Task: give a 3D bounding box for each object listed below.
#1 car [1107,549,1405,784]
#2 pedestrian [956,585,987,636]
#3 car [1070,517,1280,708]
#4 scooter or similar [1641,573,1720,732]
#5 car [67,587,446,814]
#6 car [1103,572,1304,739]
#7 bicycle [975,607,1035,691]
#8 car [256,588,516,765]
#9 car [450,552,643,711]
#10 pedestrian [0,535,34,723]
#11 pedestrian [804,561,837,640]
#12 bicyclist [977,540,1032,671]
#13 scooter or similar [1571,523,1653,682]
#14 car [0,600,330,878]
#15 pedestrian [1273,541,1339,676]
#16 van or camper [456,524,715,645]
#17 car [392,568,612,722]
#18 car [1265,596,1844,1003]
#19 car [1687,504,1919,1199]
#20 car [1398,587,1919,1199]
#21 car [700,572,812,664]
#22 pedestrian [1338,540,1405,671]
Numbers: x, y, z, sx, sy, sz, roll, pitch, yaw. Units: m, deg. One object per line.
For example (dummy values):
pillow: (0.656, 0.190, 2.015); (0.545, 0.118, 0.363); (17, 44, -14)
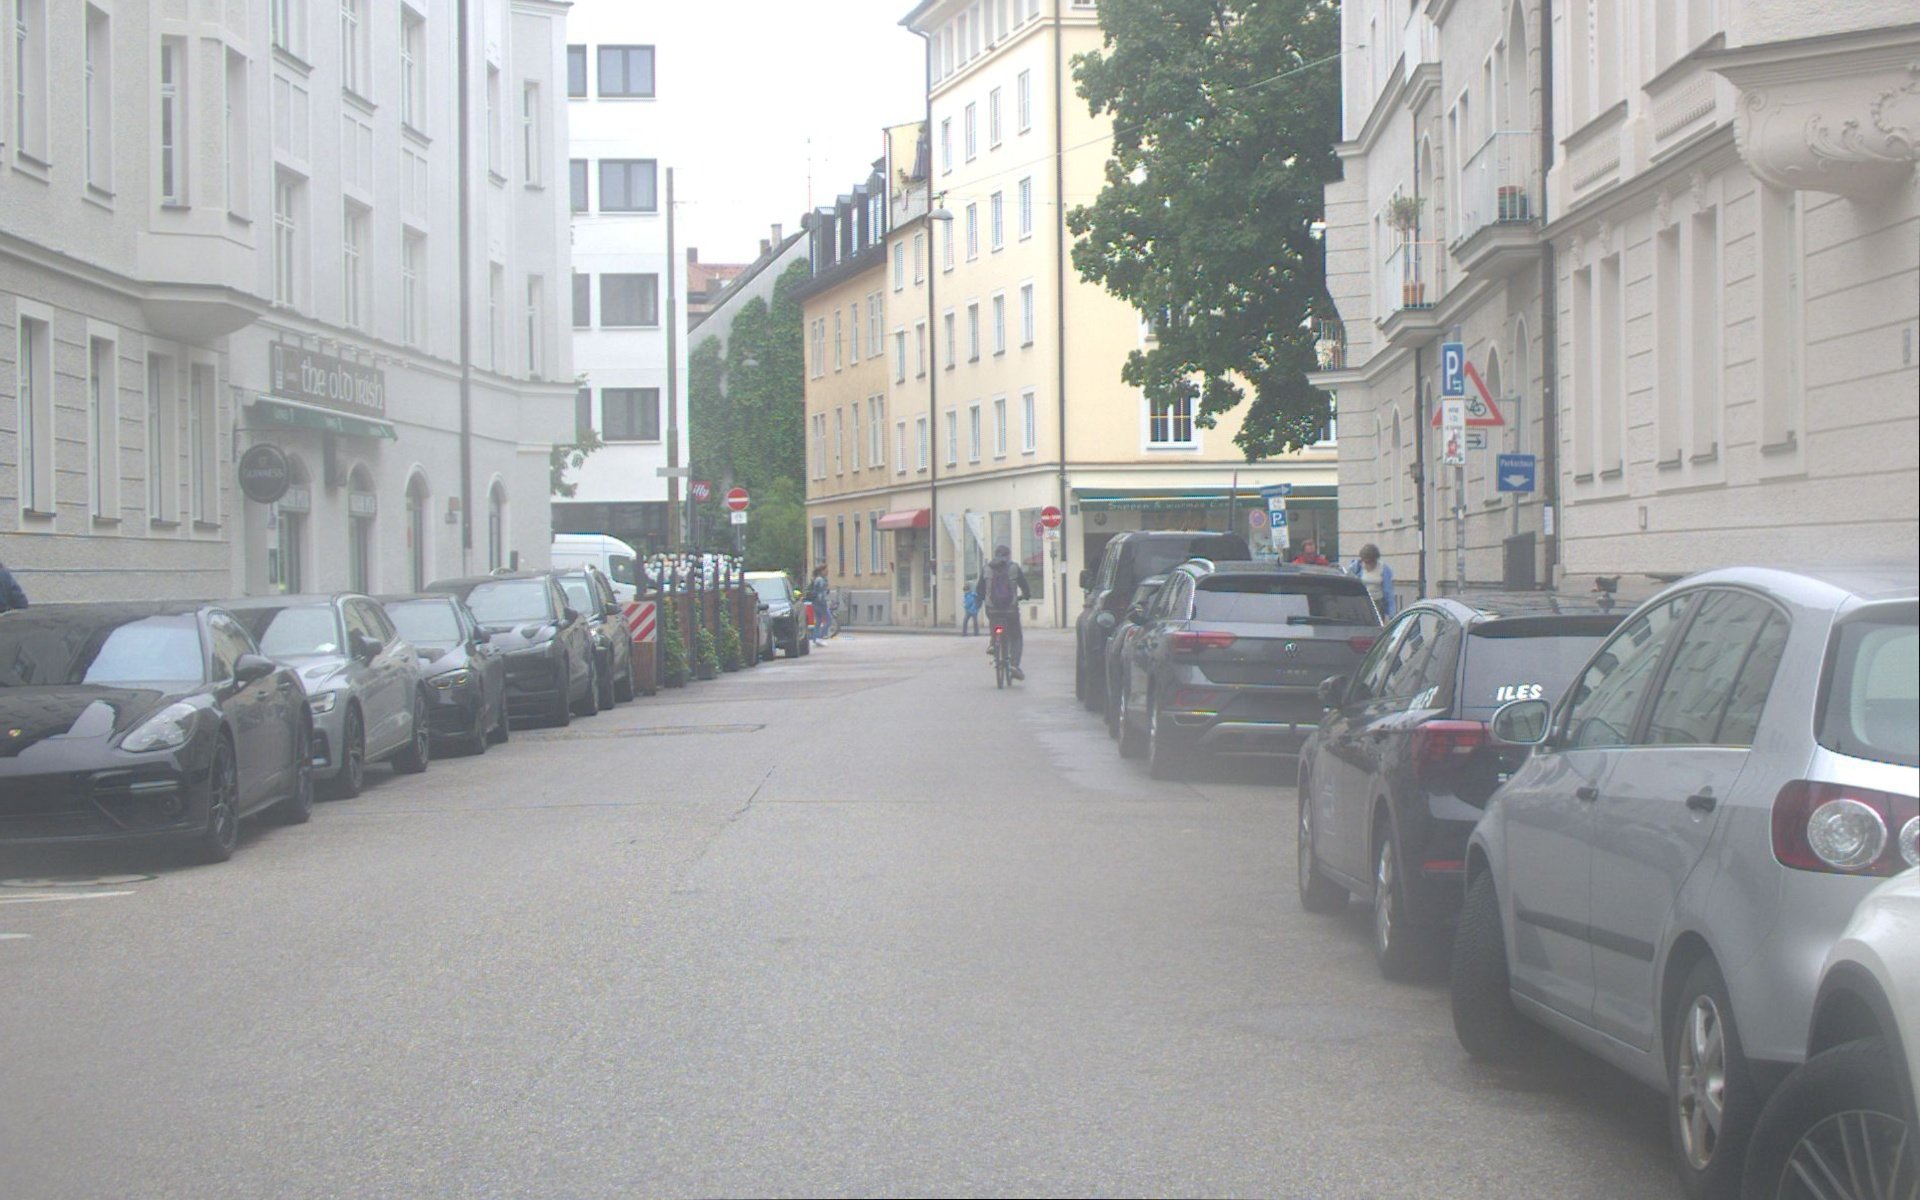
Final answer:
car: (2.100, 0.428, 25.364); (1.707, 1.582, 4.000); (1, 1, -2)
pedestrian: (0.291, 0.256, 86.744); (0.699, 1.266, 0.651); (-2, 0, 5)
car: (2.236, 0.110, 36.953); (1.911, 1.879, 4.714); (1, 0, 0)
scooter or similar: (6.079, 0.427, 29.032); (0.507, 1.283, 1.351); (-3, 0, 8)
car: (-5.065, 0.674, 25.350); (1.794, 1.415, 4.510); (-4, 0, 0)
car: (2.152, 0.465, 31.154); (1.664, 1.391, 3.581); (1, 0, 2)
bicycle: (0.566, 0.598, 42.835); (0.639, 1.001, 1.574); (-1, 0, 4)
car: (-5.070, 0.628, 30.874); (1.810, 1.380, 4.444); (-2, 1, -4)
car: (-4.820, 0.328, 40.553); (1.746, 1.667, 4.276); (-4, 1, -1)
pedestrian: (-8.924, 0.263, 31.496); (0.697, 1.701, 0.665); (-1, 0, -2)
pedestrian: (-2.932, 0.006, 72.292); (0.611, 1.655, 0.551); (-1, 0, 5)
bicyclist: (0.557, 0.062, 42.857); (0.606, 1.601, 0.757); (-1, 1, 4)
scooter or similar: (5.502, 0.011, 29.075); (0.540, 1.283, 1.503); (-3, 0, 8)
car: (-4.916, 0.714, 19.883); (1.849, 1.362, 4.702); (-1, 0, -2)
pedestrian: (4.483, 0.106, 44.538); (0.703, 1.722, 0.703); (-2, 0, -2)
van or camper: (-8.780, -0.346, 80.474); (5.903, 2.668, 1.873); (-1, -2, -8)
car: (-4.681, 0.424, 35.665); (1.742, 1.482, 4.181); (-1, 0, -1)
car: (2.276, 0.702, 14.130); (1.612, 1.390, 4.000); (1, 0, -1)
car: (2.274, 0.681, 4.168); (1.895, 1.630, 4.391); (-1, 1, 1)
car: (2.397, 0.714, 9.381); (1.708, 1.496, 4.000); (0, 0, -3)
car: (-3.792, 0.326, 64.382); (1.676, 1.591, 3.945); (-3, 0, 2)
pedestrian: (5.384, 0.075, 45.001); (0.679, 1.668, 0.654); (-3, 0, -2)
